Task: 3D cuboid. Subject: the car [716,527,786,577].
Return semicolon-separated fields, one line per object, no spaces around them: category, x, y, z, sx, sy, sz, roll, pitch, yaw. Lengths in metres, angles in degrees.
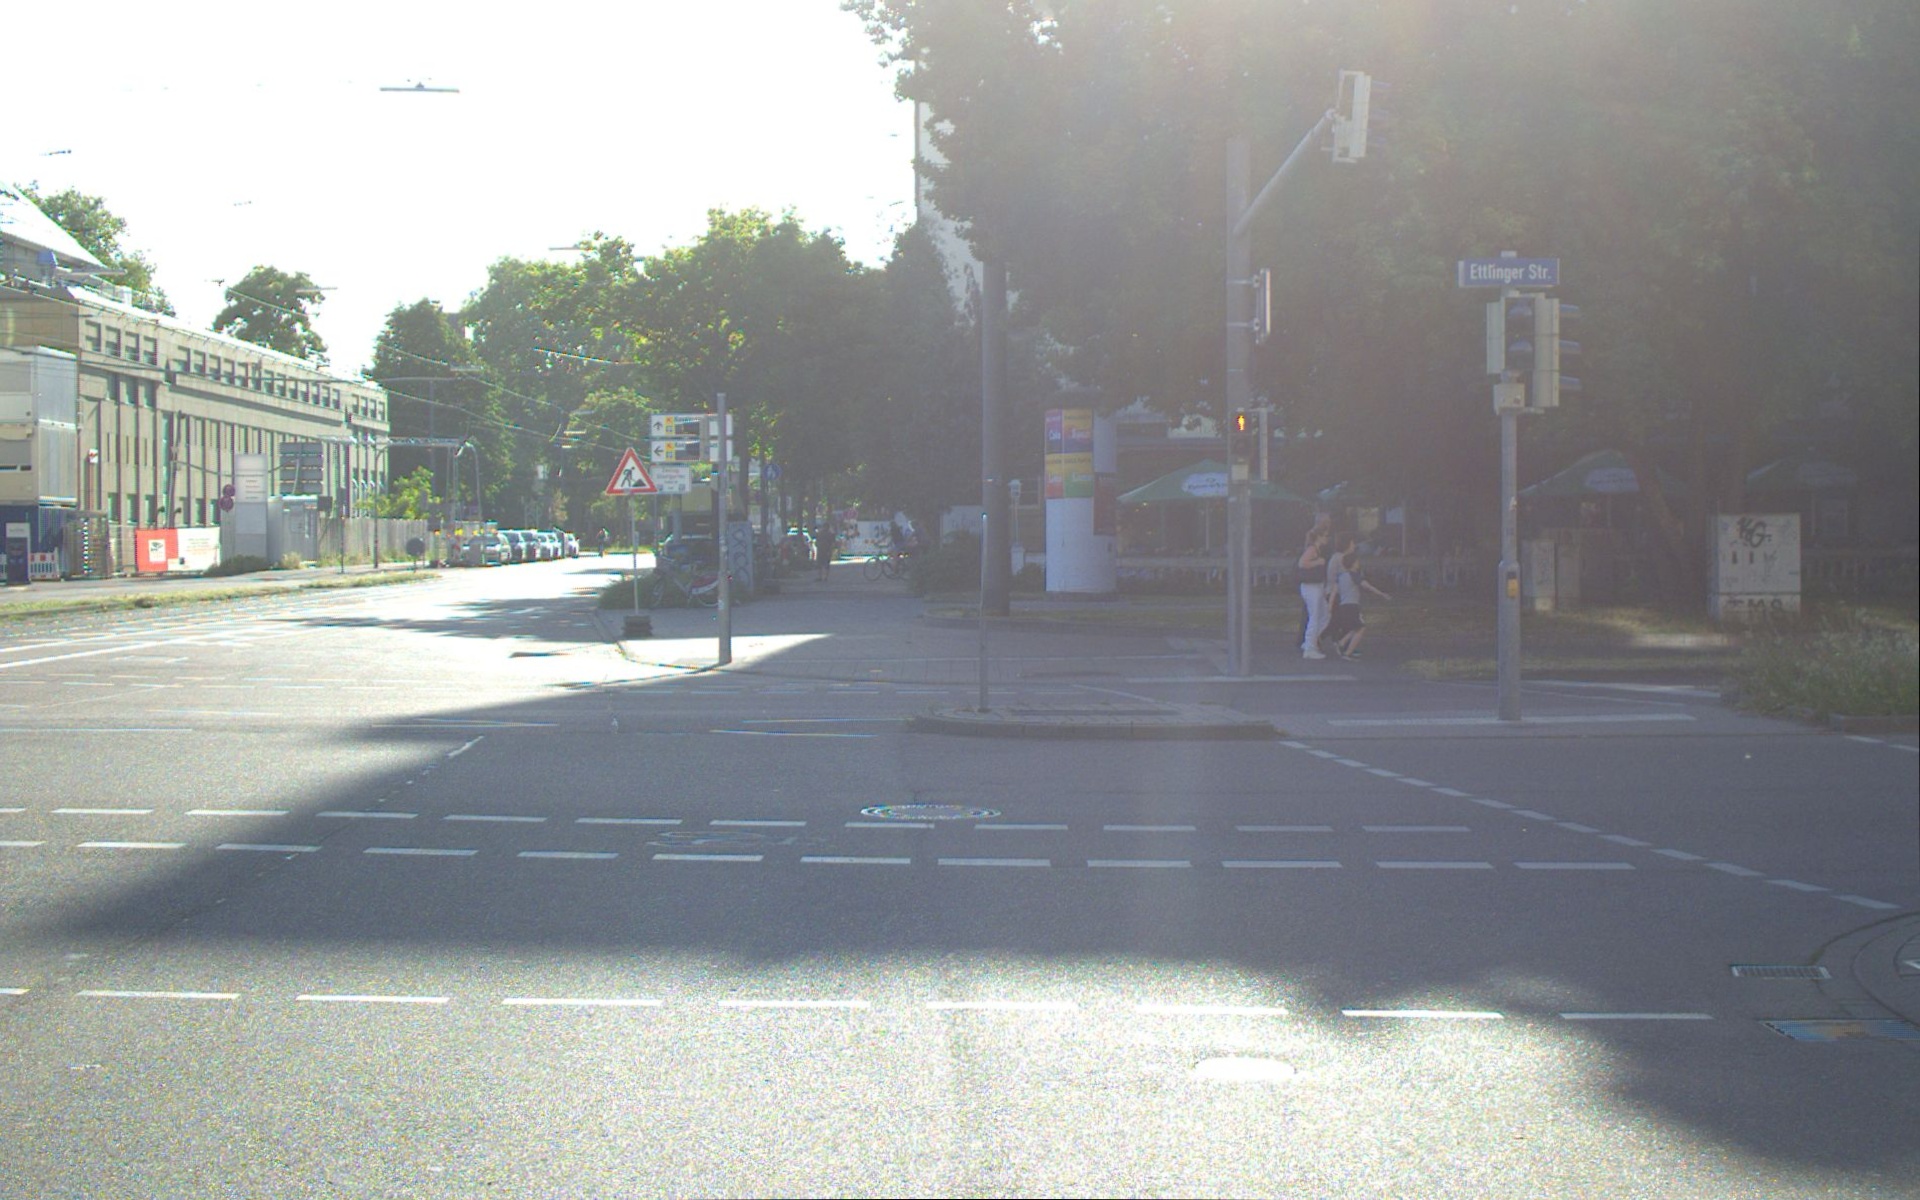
car;-5.583;-1.294;92.169;1.819;1.274;4.001;0;1;-3

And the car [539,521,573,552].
car;-22.831;-3.590;194.267;1.483;1.744;4.000;-1;1;-1

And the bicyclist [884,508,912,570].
bicyclist;-1.860;-1.818;103.013;0.804;1.838;0.731;0;1;-1

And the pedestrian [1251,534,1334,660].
pedestrian;4.238;-0.041;43.869;0.984;1.582;0.660;0;0;1

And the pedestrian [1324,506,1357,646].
pedestrian;4.917;-0.308;44.425;0.361;1.798;0.506;0;1;11

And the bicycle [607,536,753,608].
bicycle;-5.469;-0.557;67.152;2.748;1.363;0.630;1;0;11

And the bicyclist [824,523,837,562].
bicyclist;-3.699;-1.637;98.406;0.318;1.124;0.291;0;1;8

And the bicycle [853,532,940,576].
bicycle;-1.893;-1.366;103.004;2.569;1.284;0.728;1;0;-3

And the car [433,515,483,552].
car;-22.768;-3.018;156.021;1.731;1.647;4.000;0;1;-1

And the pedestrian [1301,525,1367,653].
pedestrian;4.839;-0.144;44.501;0.795;1.634;0.533;0;1;2

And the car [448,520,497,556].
car;-22.708;-2.894;160.146;1.731;1.647;4.000;0;1;-1

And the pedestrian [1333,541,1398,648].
pedestrian;5.100;-0.069;43.254;0.752;1.328;0.742;0;1;2
